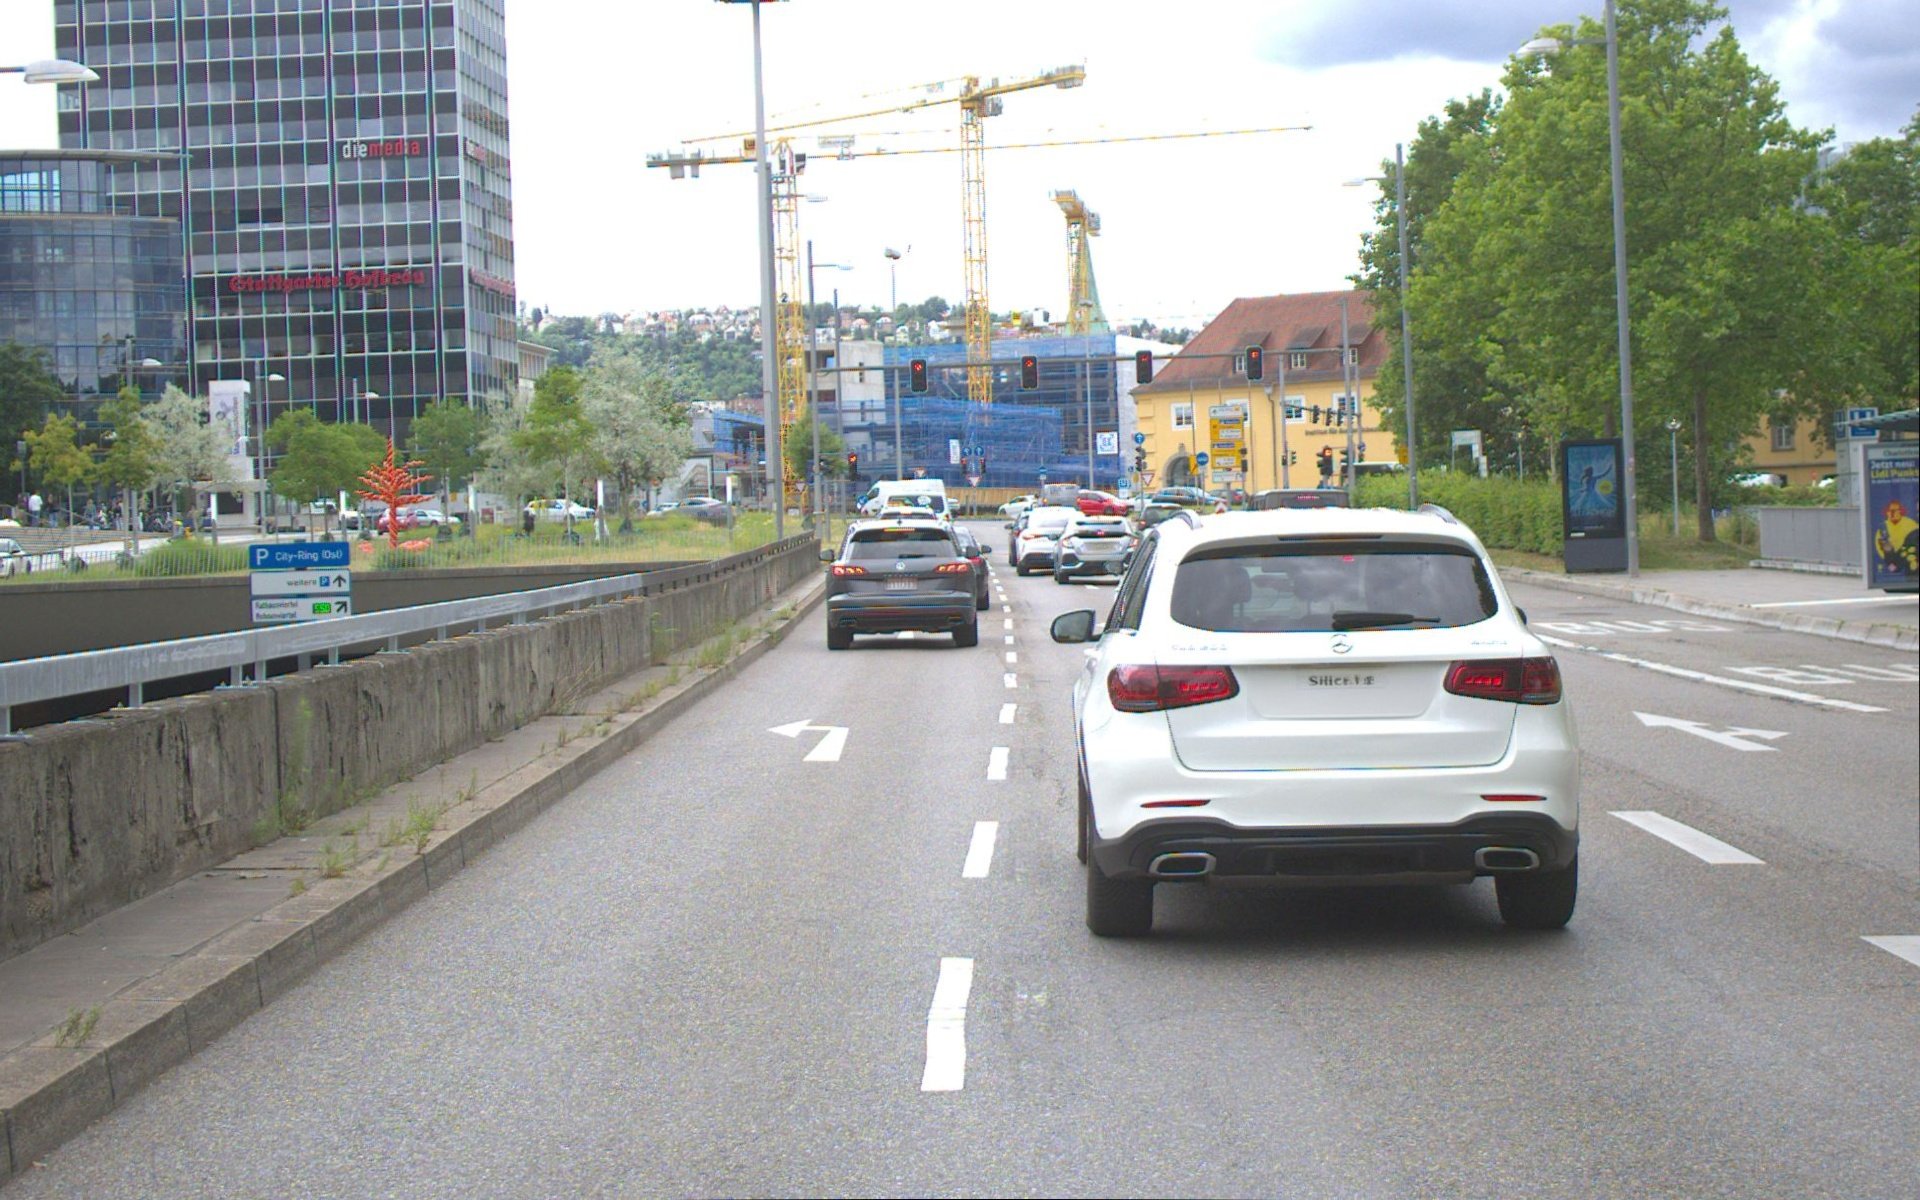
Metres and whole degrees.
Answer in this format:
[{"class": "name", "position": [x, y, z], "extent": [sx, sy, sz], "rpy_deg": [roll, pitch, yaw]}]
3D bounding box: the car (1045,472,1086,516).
[{"class": "car", "position": [5.064, -5.096, 165.822], "extent": [1.800, 2.007, 4.000], "rpy_deg": [0, 0, 0]}]

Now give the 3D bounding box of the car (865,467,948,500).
[{"class": "car", "position": [-3.438, -7.499, 221.260], "extent": [5.283, 2.053, 1.869], "rpy_deg": [1, 0, 37]}]

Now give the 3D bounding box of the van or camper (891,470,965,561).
[{"class": "van or camper", "position": [-0.863, -2.261, 92.925], "extent": [1.922, 2.312, 4.000], "rpy_deg": [-1, 0, 0]}]

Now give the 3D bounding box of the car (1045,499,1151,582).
[{"class": "car", "position": [2.835, -1.210, 71.244], "extent": [1.993, 1.656, 4.000], "rpy_deg": [0, 0, 0]}]

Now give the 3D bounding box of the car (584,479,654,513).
[{"class": "car", "position": [-21.275, -6.455, 214.330], "extent": [3.986, 2.007, 2.001], "rpy_deg": [0, 0, -17]}]

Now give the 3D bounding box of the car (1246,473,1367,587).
[{"class": "car", "position": [6.366, -1.299, 63.559], "extent": [1.788, 2.007, 4.000], "rpy_deg": [-1, 1, 0]}]

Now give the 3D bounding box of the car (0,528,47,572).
[{"class": "car", "position": [-32.081, -1.673, 115.682], "extent": [1.809, 1.422, 3.708], "rpy_deg": [0, 0, -1]}]

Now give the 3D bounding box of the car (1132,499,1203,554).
[{"class": "car", "position": [6.045, -2.147, 100.494], "extent": [1.719, 1.579, 4.000], "rpy_deg": [0, 1, -1]}]

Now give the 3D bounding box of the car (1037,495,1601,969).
[{"class": "car", "position": [1.321, 0.453, 14.214], "extent": [1.940, 1.678, 4.000], "rpy_deg": [0, 0, 1]}]

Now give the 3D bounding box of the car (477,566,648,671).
[{"class": "car", "position": [-5.238, 0.216, 45.753], "extent": [1.719, 1.288, 4.000], "rpy_deg": [0, 1, 1]}]

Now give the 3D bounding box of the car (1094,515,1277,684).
[{"class": "car", "position": [2.259, -0.028, 35.255], "extent": [1.672, 1.622, 4.000], "rpy_deg": [0, 1, 1]}]

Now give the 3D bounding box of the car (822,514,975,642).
[{"class": "car", "position": [-0.795, -0.331, 45.615], "extent": [1.922, 1.596, 4.000], "rpy_deg": [-1, 1, 0]}]

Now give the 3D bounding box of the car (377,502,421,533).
[{"class": "car", "position": [-30.551, -4.485, 187.264], "extent": [1.867, 1.612, 3.481], "rpy_deg": [0, 0, 0]}]

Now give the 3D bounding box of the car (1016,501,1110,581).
[{"class": "car", "position": [2.345, -1.327, 79.002], "extent": [1.993, 1.774, 4.000], "rpy_deg": [0, 0, 0]}]
